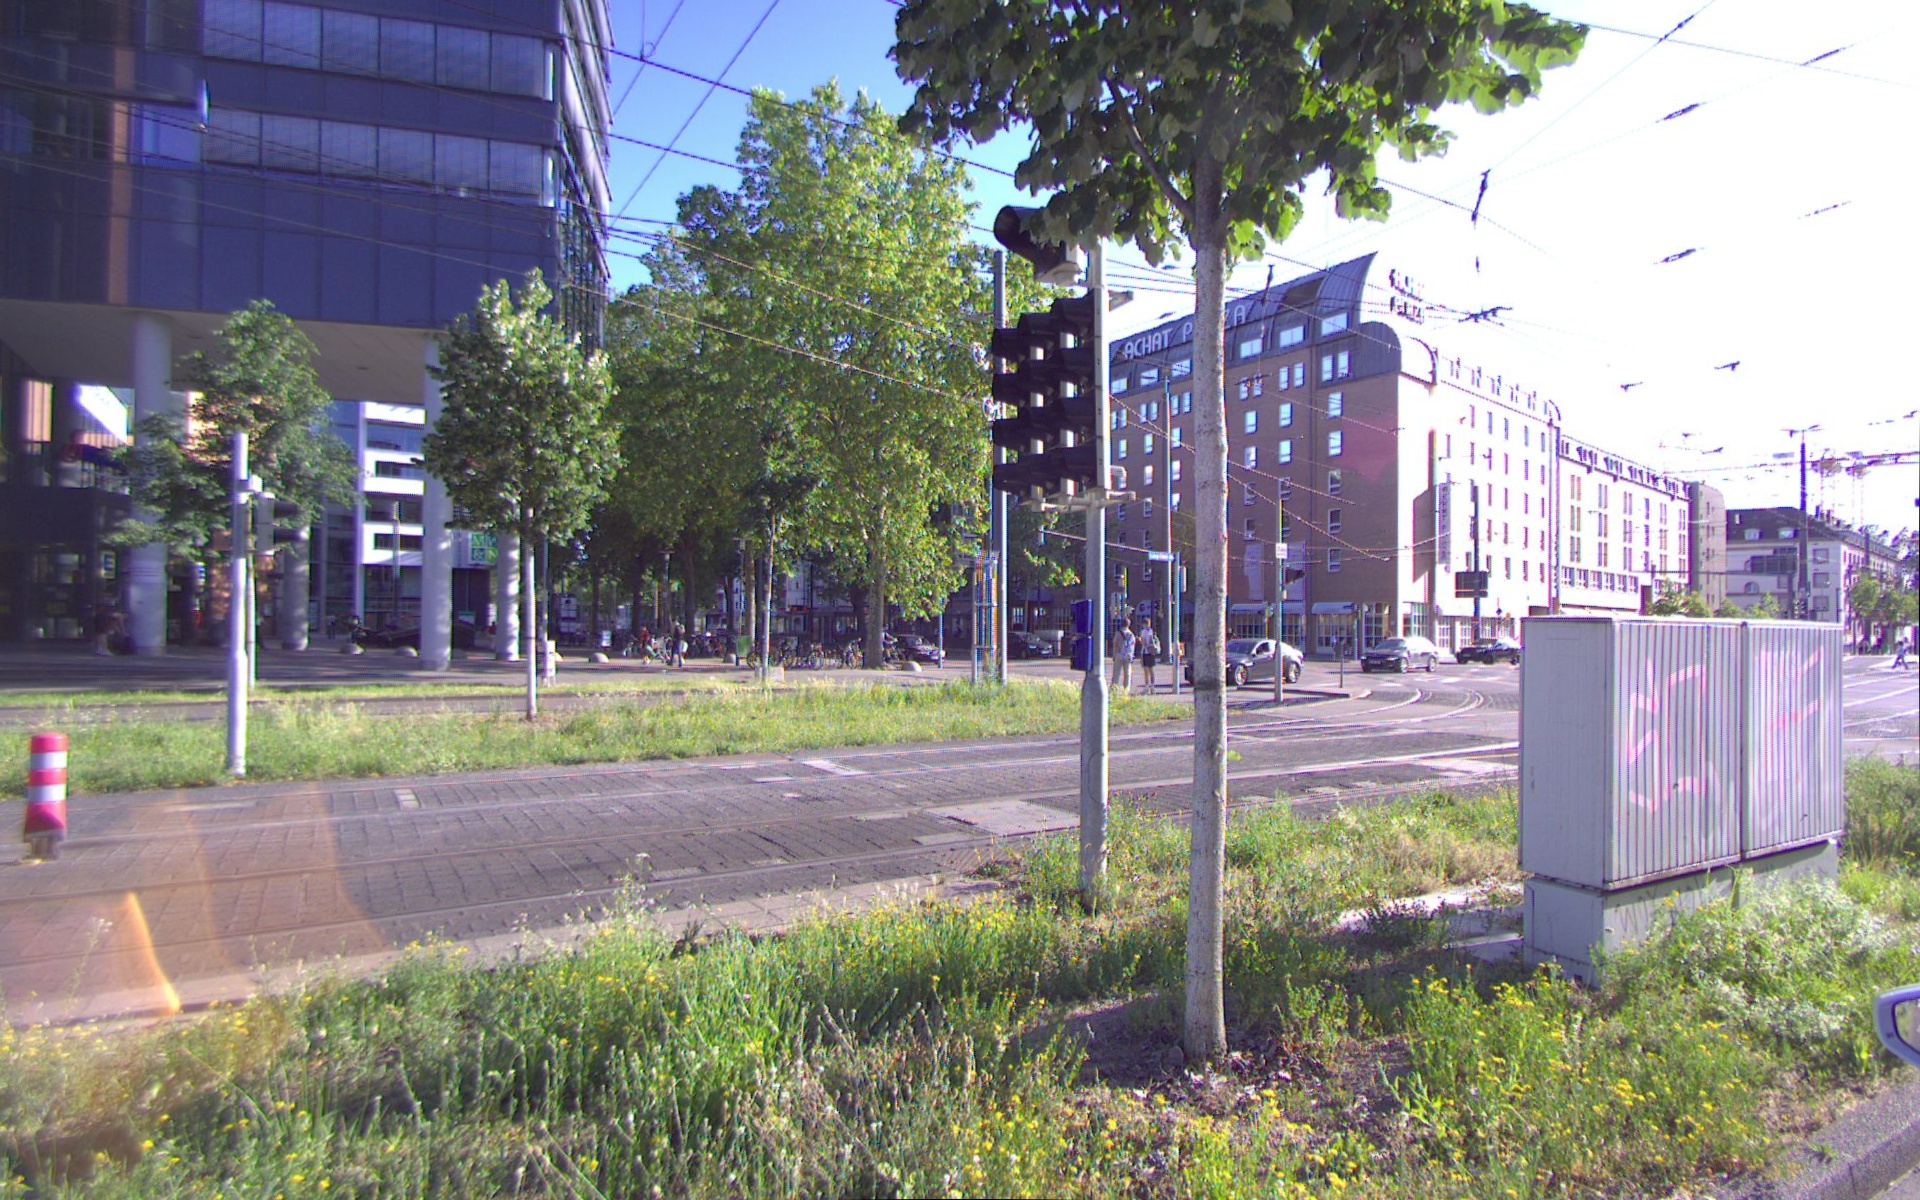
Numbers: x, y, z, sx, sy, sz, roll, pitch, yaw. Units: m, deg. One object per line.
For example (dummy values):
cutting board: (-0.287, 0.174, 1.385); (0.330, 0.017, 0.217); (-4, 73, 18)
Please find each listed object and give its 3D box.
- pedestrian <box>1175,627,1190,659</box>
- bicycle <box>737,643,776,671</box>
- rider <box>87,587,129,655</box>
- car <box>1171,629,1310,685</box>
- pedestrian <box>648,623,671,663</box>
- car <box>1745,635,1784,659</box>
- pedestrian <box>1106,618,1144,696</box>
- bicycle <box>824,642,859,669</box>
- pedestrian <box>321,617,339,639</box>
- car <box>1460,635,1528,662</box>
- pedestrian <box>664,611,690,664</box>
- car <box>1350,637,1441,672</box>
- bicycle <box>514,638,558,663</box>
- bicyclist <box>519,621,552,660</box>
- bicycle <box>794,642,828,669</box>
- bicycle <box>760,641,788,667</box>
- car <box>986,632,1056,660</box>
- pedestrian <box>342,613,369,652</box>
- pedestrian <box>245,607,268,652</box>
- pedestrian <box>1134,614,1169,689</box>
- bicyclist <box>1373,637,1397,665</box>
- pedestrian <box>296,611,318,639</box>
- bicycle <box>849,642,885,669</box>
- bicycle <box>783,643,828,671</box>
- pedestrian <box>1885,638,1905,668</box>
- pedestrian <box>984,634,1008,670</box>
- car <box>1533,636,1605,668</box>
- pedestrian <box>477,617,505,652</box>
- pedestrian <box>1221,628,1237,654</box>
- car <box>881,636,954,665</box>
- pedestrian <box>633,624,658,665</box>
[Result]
pedestrian: (14.092, 2.726, 63.675); (0.669, 2.040, 0.663); (1, -1, -29)
bicycle: (-7.469, 2.084, 36.827); (0.538, 0.964, 1.748); (2, -2, -44)
rider: (-23.126, 0.571, 27.287); (0.704, 1.826, 0.715); (1, -1, -29)
car: (8.967, 1.813, 31.910); (4.701, 1.617, 1.977); (3, -3, -40)
pedestrian: (-12.778, 1.813, 42.712); (0.826, 1.667, 0.730); (1, -1, -25)
car: (53.362, 3.096, 66.618); (1.726, 1.524, 3.858); (-1, -2, 43)
pedestrian: (4.030, 1.379, 24.570); (0.656, 1.854, 0.627); (1, -1, -36)
bicycle: (-4.481, 2.080, 37.879); (0.536, 0.964, 1.753); (2, -2, -36)
pedestrian: (-36.438, 1.620, 58.119); (0.651, 1.294, 0.636); (1, 0, -13)
car: (32.898, 2.975, 61.900); (3.947, 1.570, 1.749); (1, -2, -26)
pedestrian: (-11.040, 1.464, 39.116); (0.826, 2.040, 0.730); (1, 0, -25)
car: (18.692, 2.315, 43.075); (4.104, 1.440, 1.711); (2, -4, -36)
bicycle: (-16.326, 1.918, 38.743); (0.489, 0.922, 1.889); (0, -2, 16)
bicyclist: (-16.337, 1.561, 38.695); (0.666, 1.484, 1.017); (0, -1, 17)
bicycle: (-5.679, 2.108, 38.270); (0.536, 0.964, 1.753); (2, -2, -36)
bicycle: (-7.099, 2.052, 38.404); (0.530, 0.964, 1.772); (1, -1, 7)
car: (3.325, 2.514, 55.154); (1.743, 1.439, 3.960); (2, -2, -35)
pedestrian: (-27.226, 1.449, 45.275); (0.794, 1.730, 0.789); (1, 0, -13)
pedestrian: (-23.842, 1.012, 34.056); (0.566, 1.500, 0.450); (1, 0, -30)
pedestrian: (4.793, 1.271, 25.094); (0.656, 1.841, 0.559); (1, -1, -36)
bicyclist: (20.927, 2.504, 49.431); (0.942, 1.393, 0.752); (2, -1, -37)
pedestrian: (-37.051, 1.414, 56.995); (0.647, 1.500, 1.053); (1, 0, -13)
bicycle: (-3.535, 2.107, 38.186); (0.536, 0.964, 1.753); (2, -2, -36)
bicycle: (-5.691, 2.099, 36.913); (1.742, 0.964, 0.540); (0, -1, 34)
pedestrian: (53.124, 2.992, 57.077); (0.755, 1.662, 0.741); (0, -1, 37)
pedestrian: (1.651, 2.411, 46.294); (0.832, 1.619, 0.692); (1, 0, -33)
car: (29.807, 2.509, 49.109); (3.960, 1.468, 1.563); (2, -2, -35)
pedestrian: (-24.194, 1.785, 51.844); (1.091, 1.730, 0.789); (1, 0, -13)
pedestrian: (16.408, 2.493, 61.192); (0.652, 1.523, 0.672); (1, -1, -33)
car: (-2.129, 2.465, 49.328); (1.977, 1.283, 3.968); (1, -2, -30)
pedestrian: (-12.778, 1.804, 40.779); (0.826, 1.619, 0.730); (1, 0, -25)
